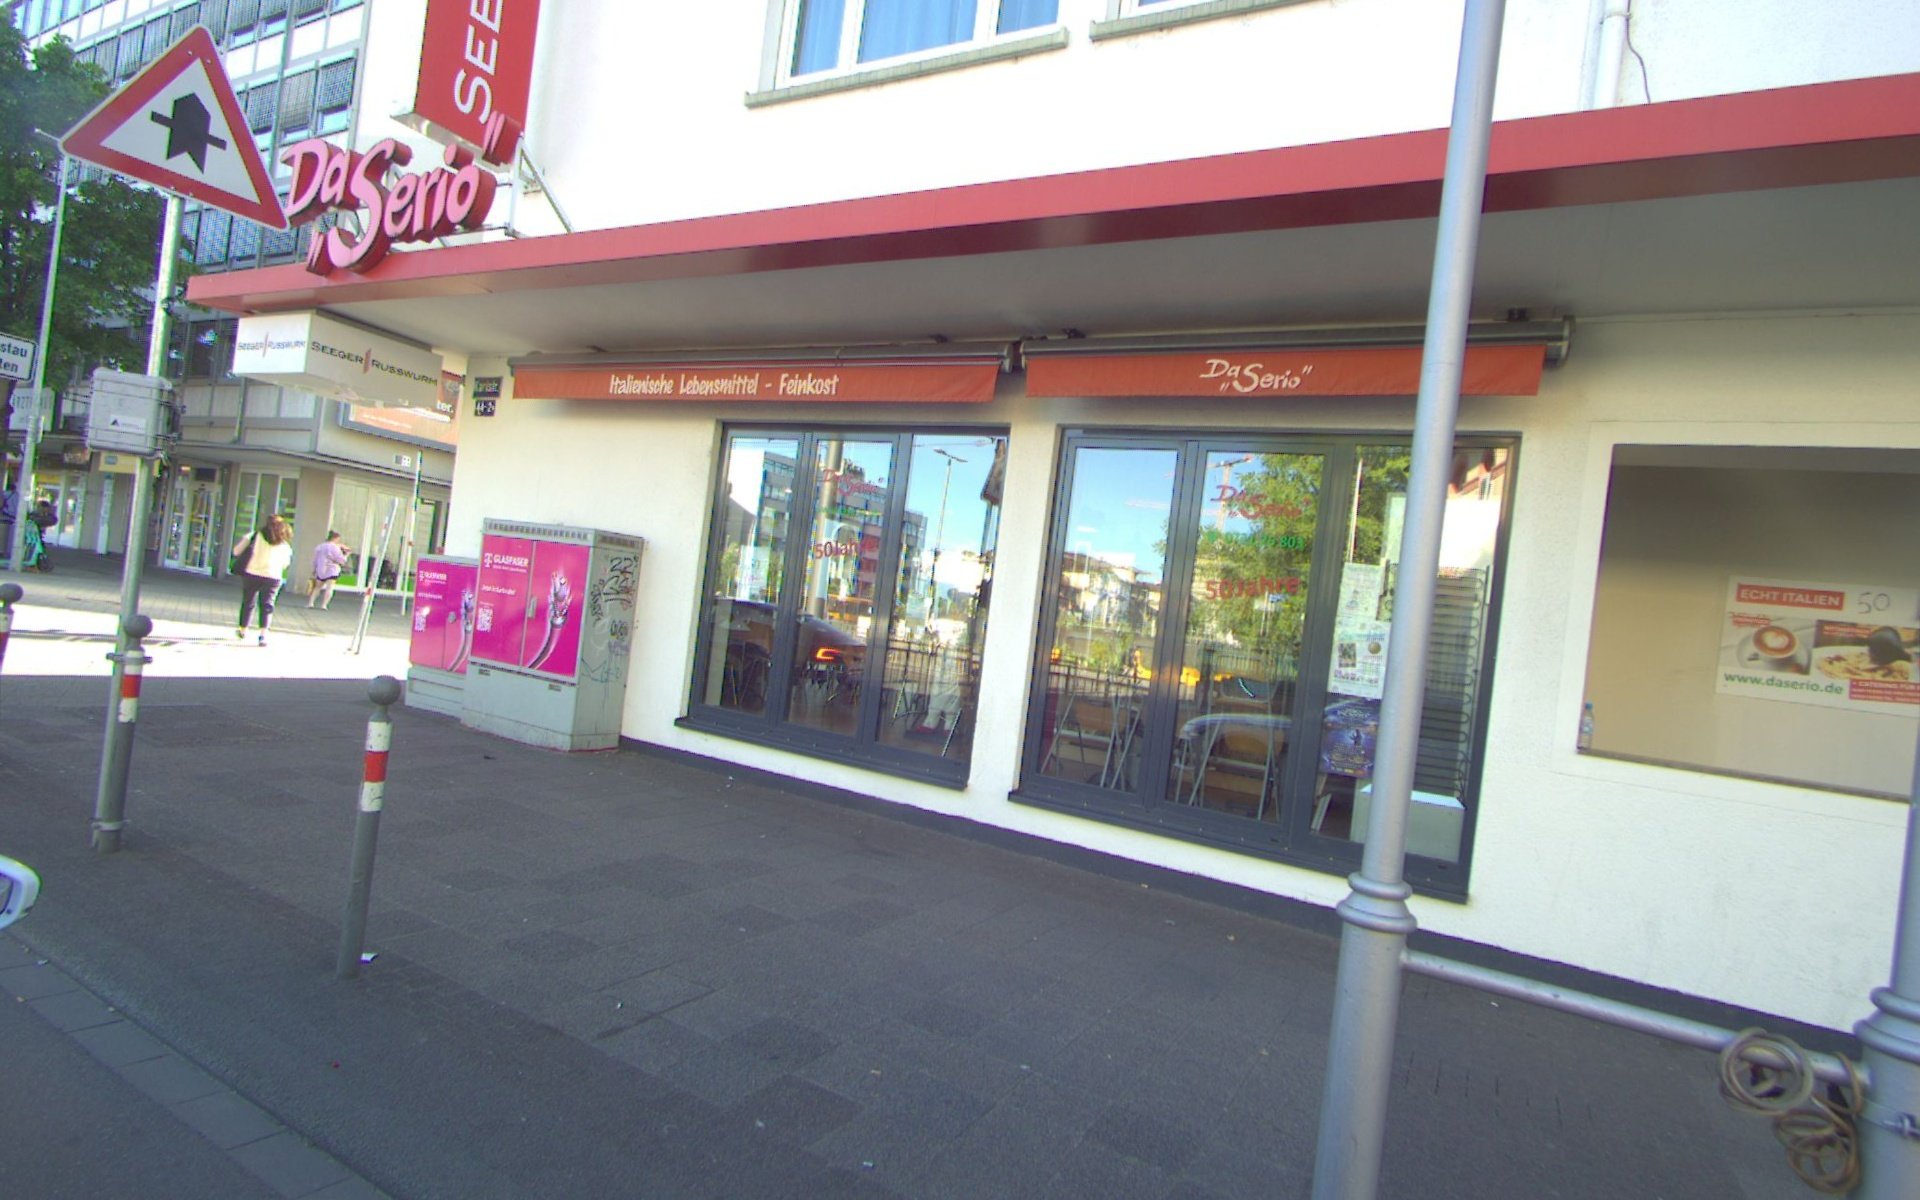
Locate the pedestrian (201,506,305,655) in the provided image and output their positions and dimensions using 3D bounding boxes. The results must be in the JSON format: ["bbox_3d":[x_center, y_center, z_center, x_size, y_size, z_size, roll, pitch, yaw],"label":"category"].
[{"bbox_3d":[-9.182,-0.254,13.092,0.909,1.773,1.029,7,0,-35],"label":"pedestrian"}]

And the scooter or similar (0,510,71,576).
[{"bbox_3d":[-19.940,-1.233,21.177,1.628,1.229,0.640,8,-1,-29],"label":"scooter or similar"}]

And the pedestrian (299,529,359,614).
[{"bbox_3d":[-13.547,-0.606,21.581,0.884,1.687,0.801,8,-1,-35],"label":"pedestrian"}]

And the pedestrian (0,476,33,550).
[{"bbox_3d":[-27.441,-2.519,29.052,0.570,2.037,0.663,6,-1,34],"label":"pedestrian"}]

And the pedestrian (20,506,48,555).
[{"bbox_3d":[-27.107,-2.047,29.449,0.504,1.359,0.390,6,-1,34],"label":"pedestrian"}]

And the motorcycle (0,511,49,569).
[{"bbox_3d":[-21.547,-1.409,22.393,0.532,1.186,1.711,7,-2,30],"label":"motorcycle"}]
